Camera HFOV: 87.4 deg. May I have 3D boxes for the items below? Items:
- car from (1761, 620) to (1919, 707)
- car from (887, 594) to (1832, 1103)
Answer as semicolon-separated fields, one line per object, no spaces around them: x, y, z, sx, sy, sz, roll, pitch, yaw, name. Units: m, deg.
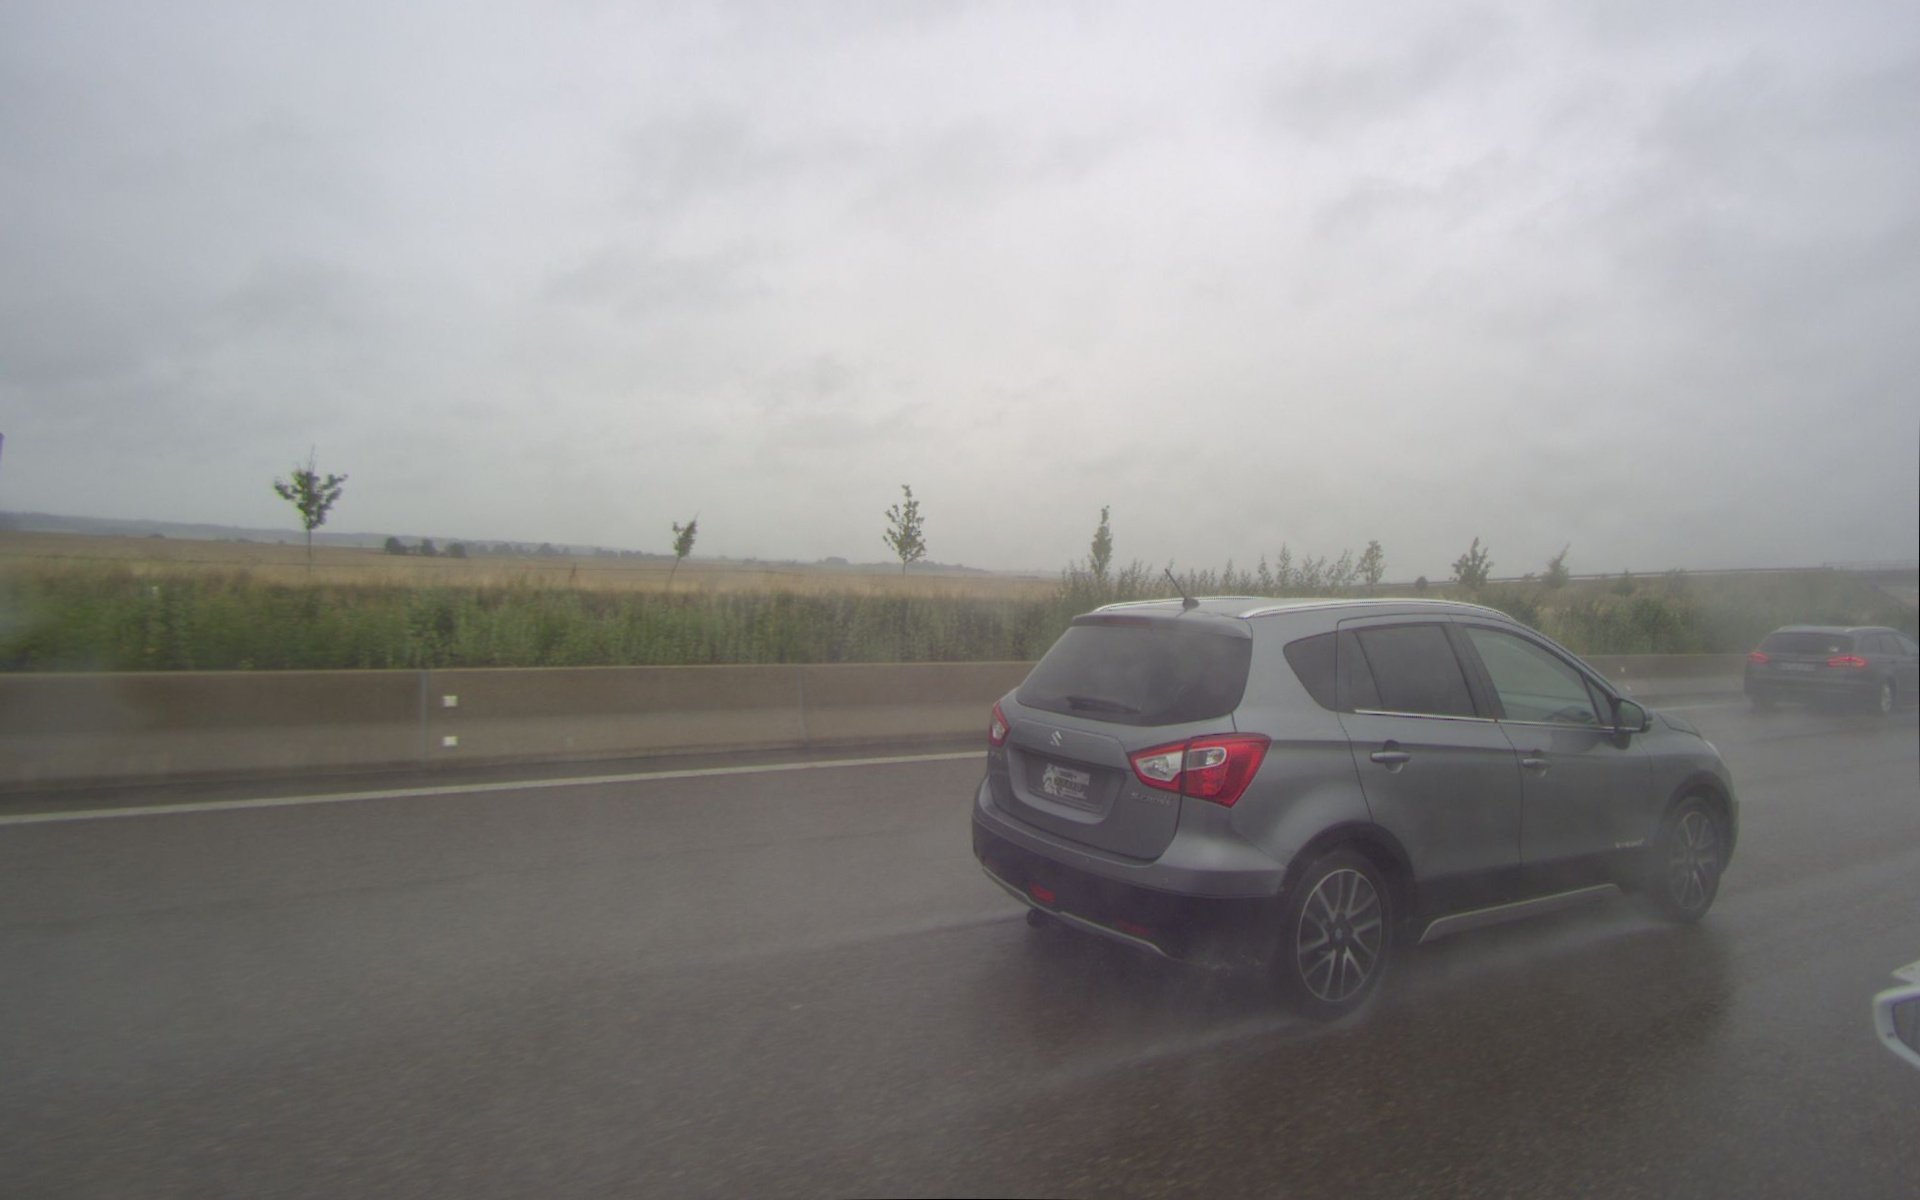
16.299;1.085;18.072;3.952;1.372;1.605;1;0;-30;car
2.155;0.798;5.012;4.699;1.533;1.838;1;0;-29;car
